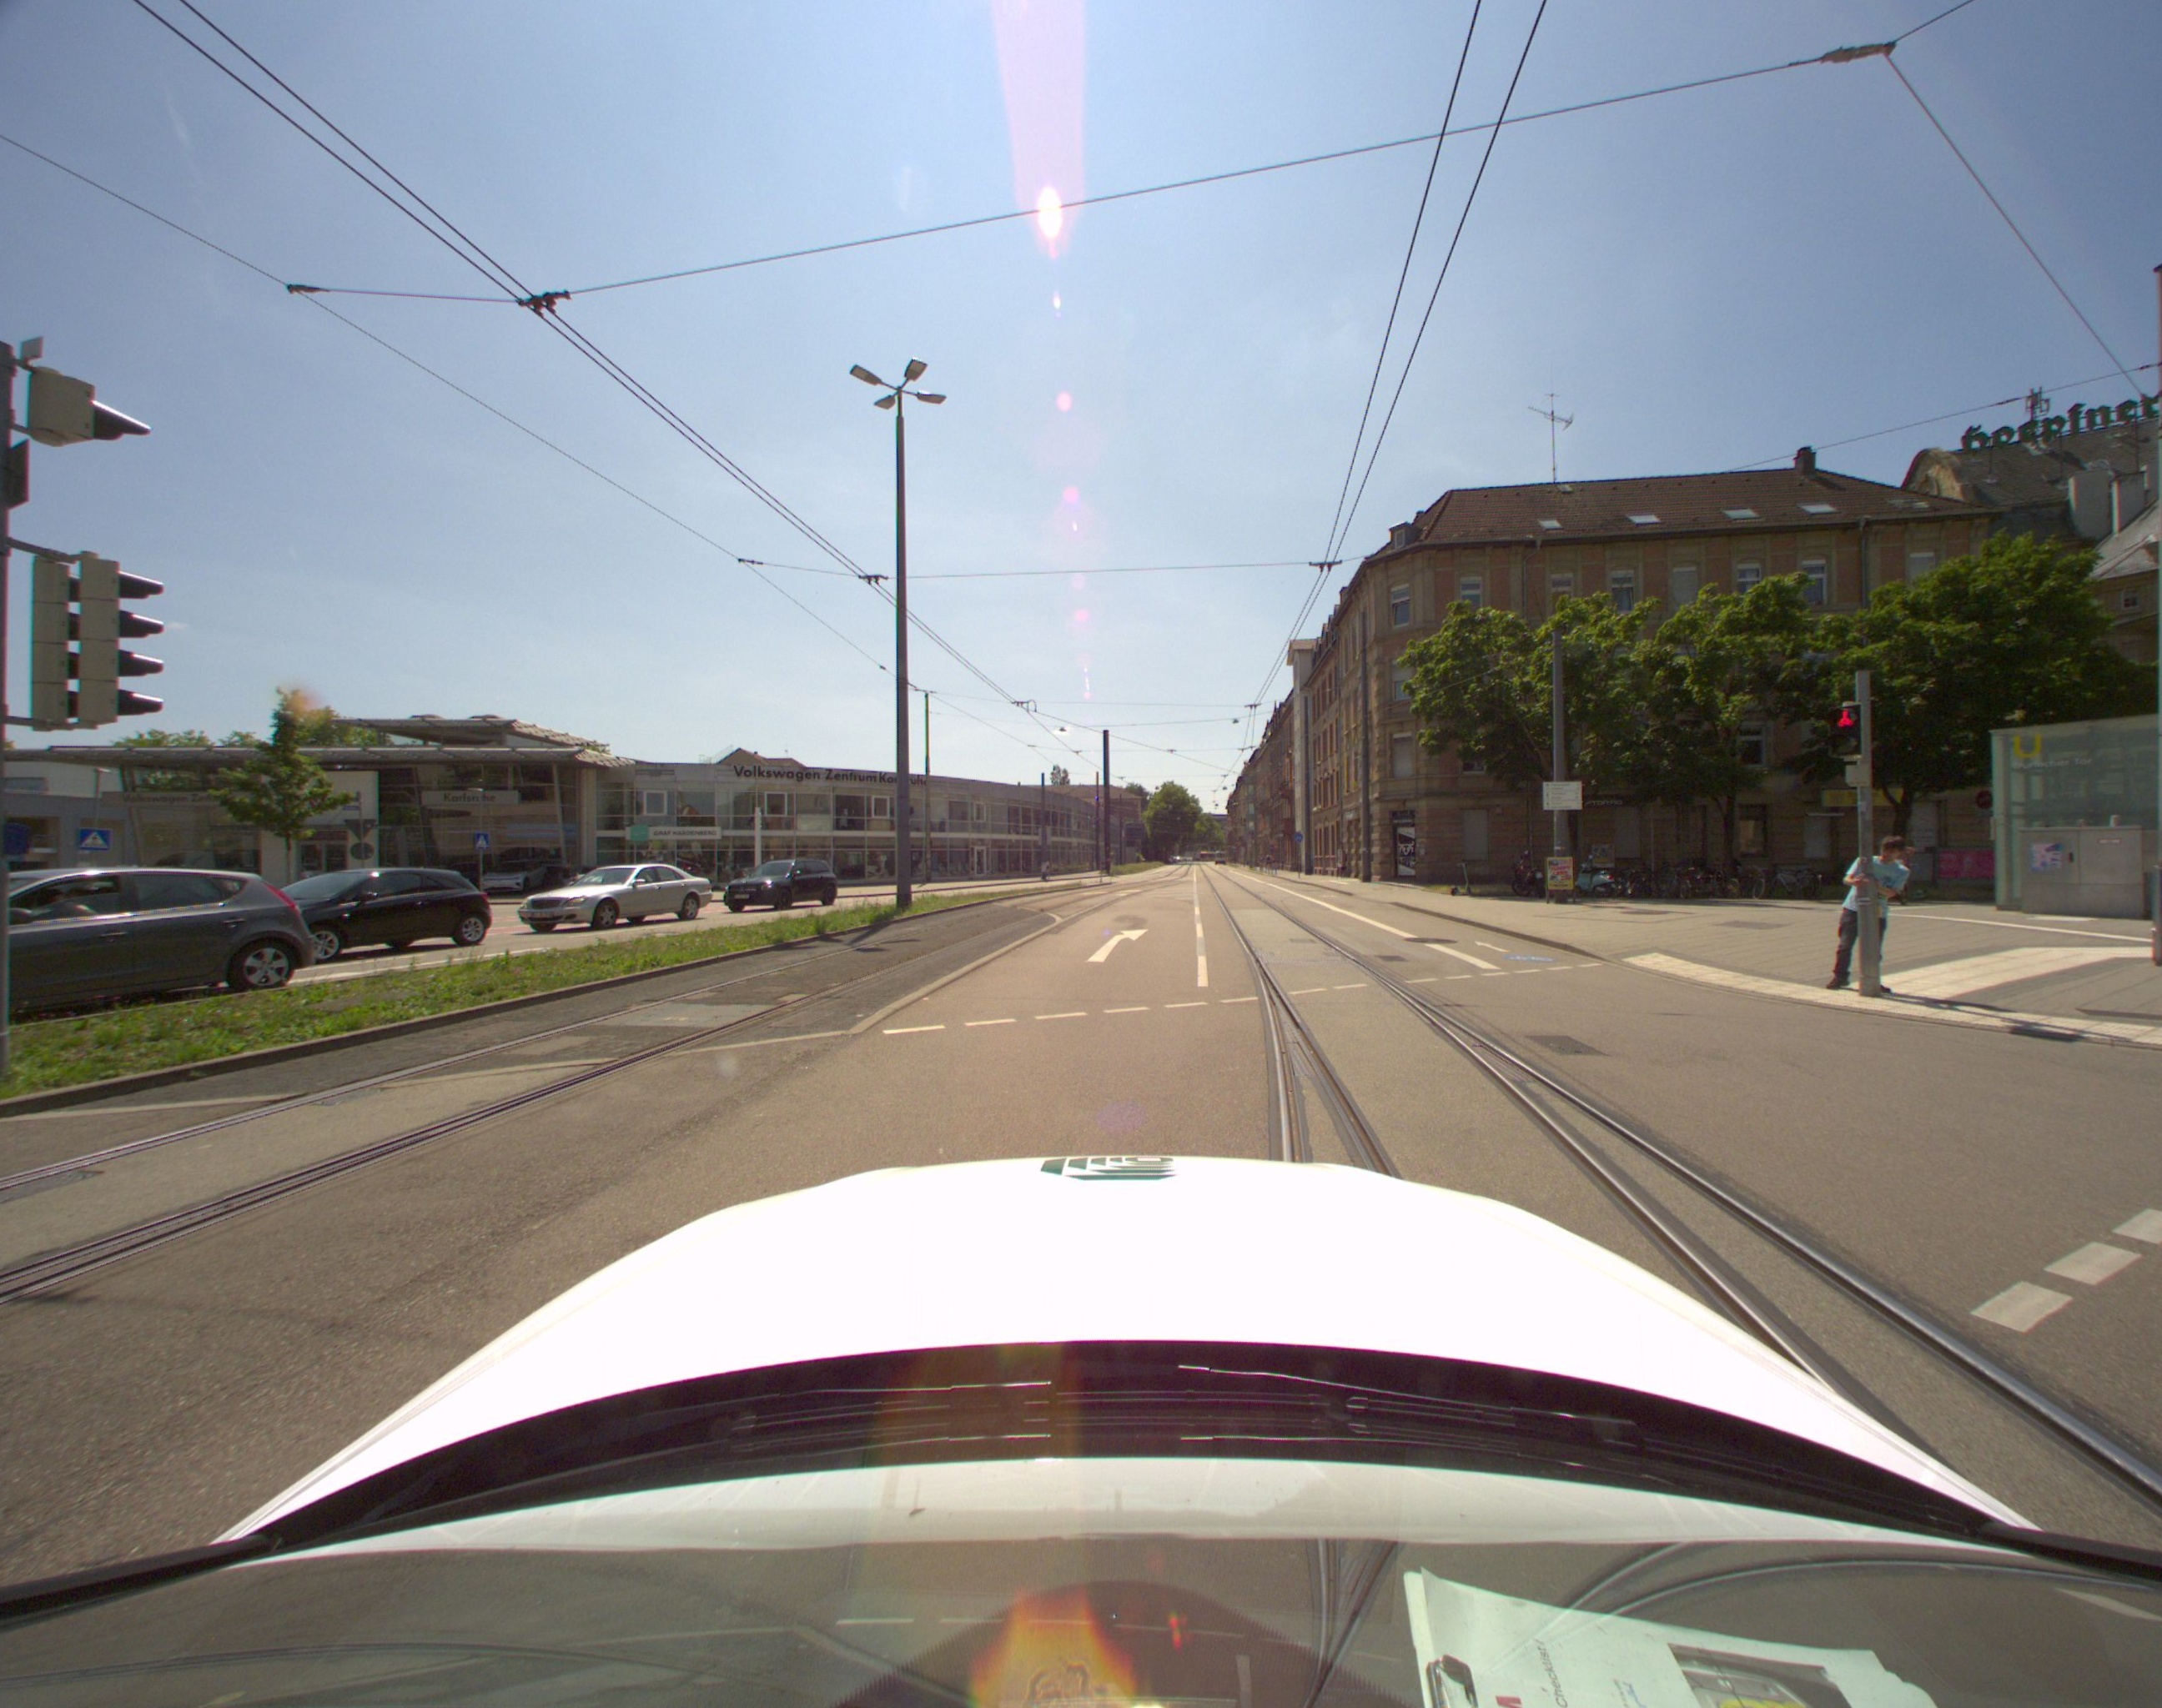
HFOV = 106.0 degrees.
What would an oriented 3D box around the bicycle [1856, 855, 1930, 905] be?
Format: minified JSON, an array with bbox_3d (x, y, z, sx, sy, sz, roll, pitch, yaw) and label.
[{"bbox_3d":[22.032,0.674,22.088,2.231,1.251,1.087,-1,0,-36],"label":"bicycle"}]

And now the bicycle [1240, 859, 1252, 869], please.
[{"bbox_3d":[20.646,1.234,101.768,0.494,1.130,2.257,-2,-1,36],"label":"bicycle"}]

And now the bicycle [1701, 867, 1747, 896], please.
[{"bbox_3d":[20.880,0.877,26.461,0.453,0.905,1.430,-1,0,4],"label":"bicycle"}]

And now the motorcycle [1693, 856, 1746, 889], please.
[{"bbox_3d":[25.152,0.737,32.096,1.631,1.290,0.504,-1,-1,7],"label":"motorcycle"}]

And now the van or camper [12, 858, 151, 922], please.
[{"bbox_3d":[-49.075,1.692,40.134,1.989,3.003,3.995,-1,0,-3],"label":"van or camper"}]

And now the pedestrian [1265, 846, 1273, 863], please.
[{"bbox_3d":[20.751,0.018,89.721,0.698,1.849,0.645,-4,-1,9],"label":"pedestrian"}]

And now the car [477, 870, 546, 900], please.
[{"bbox_3d":[-28.957,1.545,41.544,1.610,1.420,4.165,-1,0,-16],"label":"car"}]

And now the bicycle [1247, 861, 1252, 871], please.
[{"bbox_3d":[19.549,1.382,94.359,0.444,1.097,2.431,-1,-1,13],"label":"bicycle"}]

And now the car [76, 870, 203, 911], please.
[{"bbox_3d":[-46.414,1.757,40.288,1.653,1.832,4.093,-1,0,-4],"label":"car"}]

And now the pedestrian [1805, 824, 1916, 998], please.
[{"bbox_3d":[8.529,0.590,8.950,0.799,1.779,0.880,-1,-1,40],"label":"pedestrian"}]

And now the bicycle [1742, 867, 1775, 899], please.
[{"bbox_3d":[22.020,0.921,26.483,0.451,0.992,1.437,-1,0,25],"label":"bicycle"}]

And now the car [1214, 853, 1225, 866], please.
[{"bbox_3d":[26.570,1.063,156.202,2.055,2.501,5.467,0,0,9],"label":"car"}]

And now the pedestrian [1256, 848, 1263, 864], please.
[{"bbox_3d":[19.748,0.200,90.188,0.716,1.720,0.645,-1,-1,9],"label":"pedestrian"}]

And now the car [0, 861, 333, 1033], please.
[{"bbox_3d":[-10.379,0.868,7.903,1.832,1.480,4.341,-2,0,9],"label":"car"}]

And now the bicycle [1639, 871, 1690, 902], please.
[{"bbox_3d":[19.145,1.056,26.758,0.641,0.965,1.844,-1,0,11],"label":"bicycle"}]

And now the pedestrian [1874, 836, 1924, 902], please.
[{"bbox_3d":[22.471,0.413,22.382,0.828,1.775,0.805,1,-2,-36],"label":"pedestrian"}]

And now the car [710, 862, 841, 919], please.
[{"bbox_3d":[-9.829,1.128,26.631,1.810,1.626,4.539,-2,-1,11],"label":"car"}]

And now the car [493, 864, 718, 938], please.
[{"bbox_3d":[-11.463,1.049,20.194,1.982,1.530,5.143,-3,-1,8],"label":"car"}]

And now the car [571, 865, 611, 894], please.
[{"bbox_3d":[-26.044,1.334,43.394,1.505,1.457,4.020,-1,0,-27],"label":"car"}]

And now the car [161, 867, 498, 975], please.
[{"bbox_3d":[-12.132,0.996,13.551,1.661,1.462,3.912,-2,-1,8],"label":"car"}]

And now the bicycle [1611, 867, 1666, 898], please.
[{"bbox_3d":[18.402,0.921,26.939,0.641,0.965,2.087,-1,0,9],"label":"bicycle"}]

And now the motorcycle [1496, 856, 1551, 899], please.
[{"bbox_3d":[14.661,0.769,27.072,0.759,1.362,2.602,-1,-1,9],"label":"motorcycle"}]

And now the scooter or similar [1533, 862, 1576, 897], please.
[{"bbox_3d":[15.848,0.850,27.294,0.599,1.152,1.378,-1,-2,-1],"label":"scooter or similar"}]

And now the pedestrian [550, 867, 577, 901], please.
[{"bbox_3d":[-25.345,1.480,39.919,0.723,1.642,0.823,-1,-1,11],"label":"pedestrian"}]

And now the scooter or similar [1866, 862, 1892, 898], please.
[{"bbox_3d":[25.472,0.826,25.995,0.989,1.125,0.266,-1,-1,-27],"label":"scooter or similar"}]

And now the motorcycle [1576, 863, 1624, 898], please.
[{"bbox_3d":[17.021,0.863,26.760,0.687,1.096,1.752,-1,-1,9],"label":"motorcycle"}]

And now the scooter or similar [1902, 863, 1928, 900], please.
[{"bbox_3d":[25.672,0.843,25.060,0.989,1.125,0.266,-1,-1,-27],"label":"scooter or similar"}]

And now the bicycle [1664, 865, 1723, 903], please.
[{"bbox_3d":[19.945,0.958,26.574,0.642,1.146,1.841,-1,0,4],"label":"bicycle"}]

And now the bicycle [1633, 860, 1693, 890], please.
[{"bbox_3d":[23.337,0.825,32.652,1.869,1.178,0.715,-1,-1,1],"label":"bicycle"}]

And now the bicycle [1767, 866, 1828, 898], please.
[{"bbox_3d":[23.276,0.886,26.481,0.501,0.992,1.566,-1,0,-6],"label":"bicycle"}]

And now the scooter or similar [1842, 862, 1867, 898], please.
[{"bbox_3d":[25.061,0.838,26.381,0.989,1.125,0.266,-1,-1,-27],"label":"scooter or similar"}]

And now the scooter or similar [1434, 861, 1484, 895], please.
[{"bbox_3d":[13.257,0.838,28.569,1.525,1.155,0.710,-1,0,-21],"label":"scooter or similar"}]
